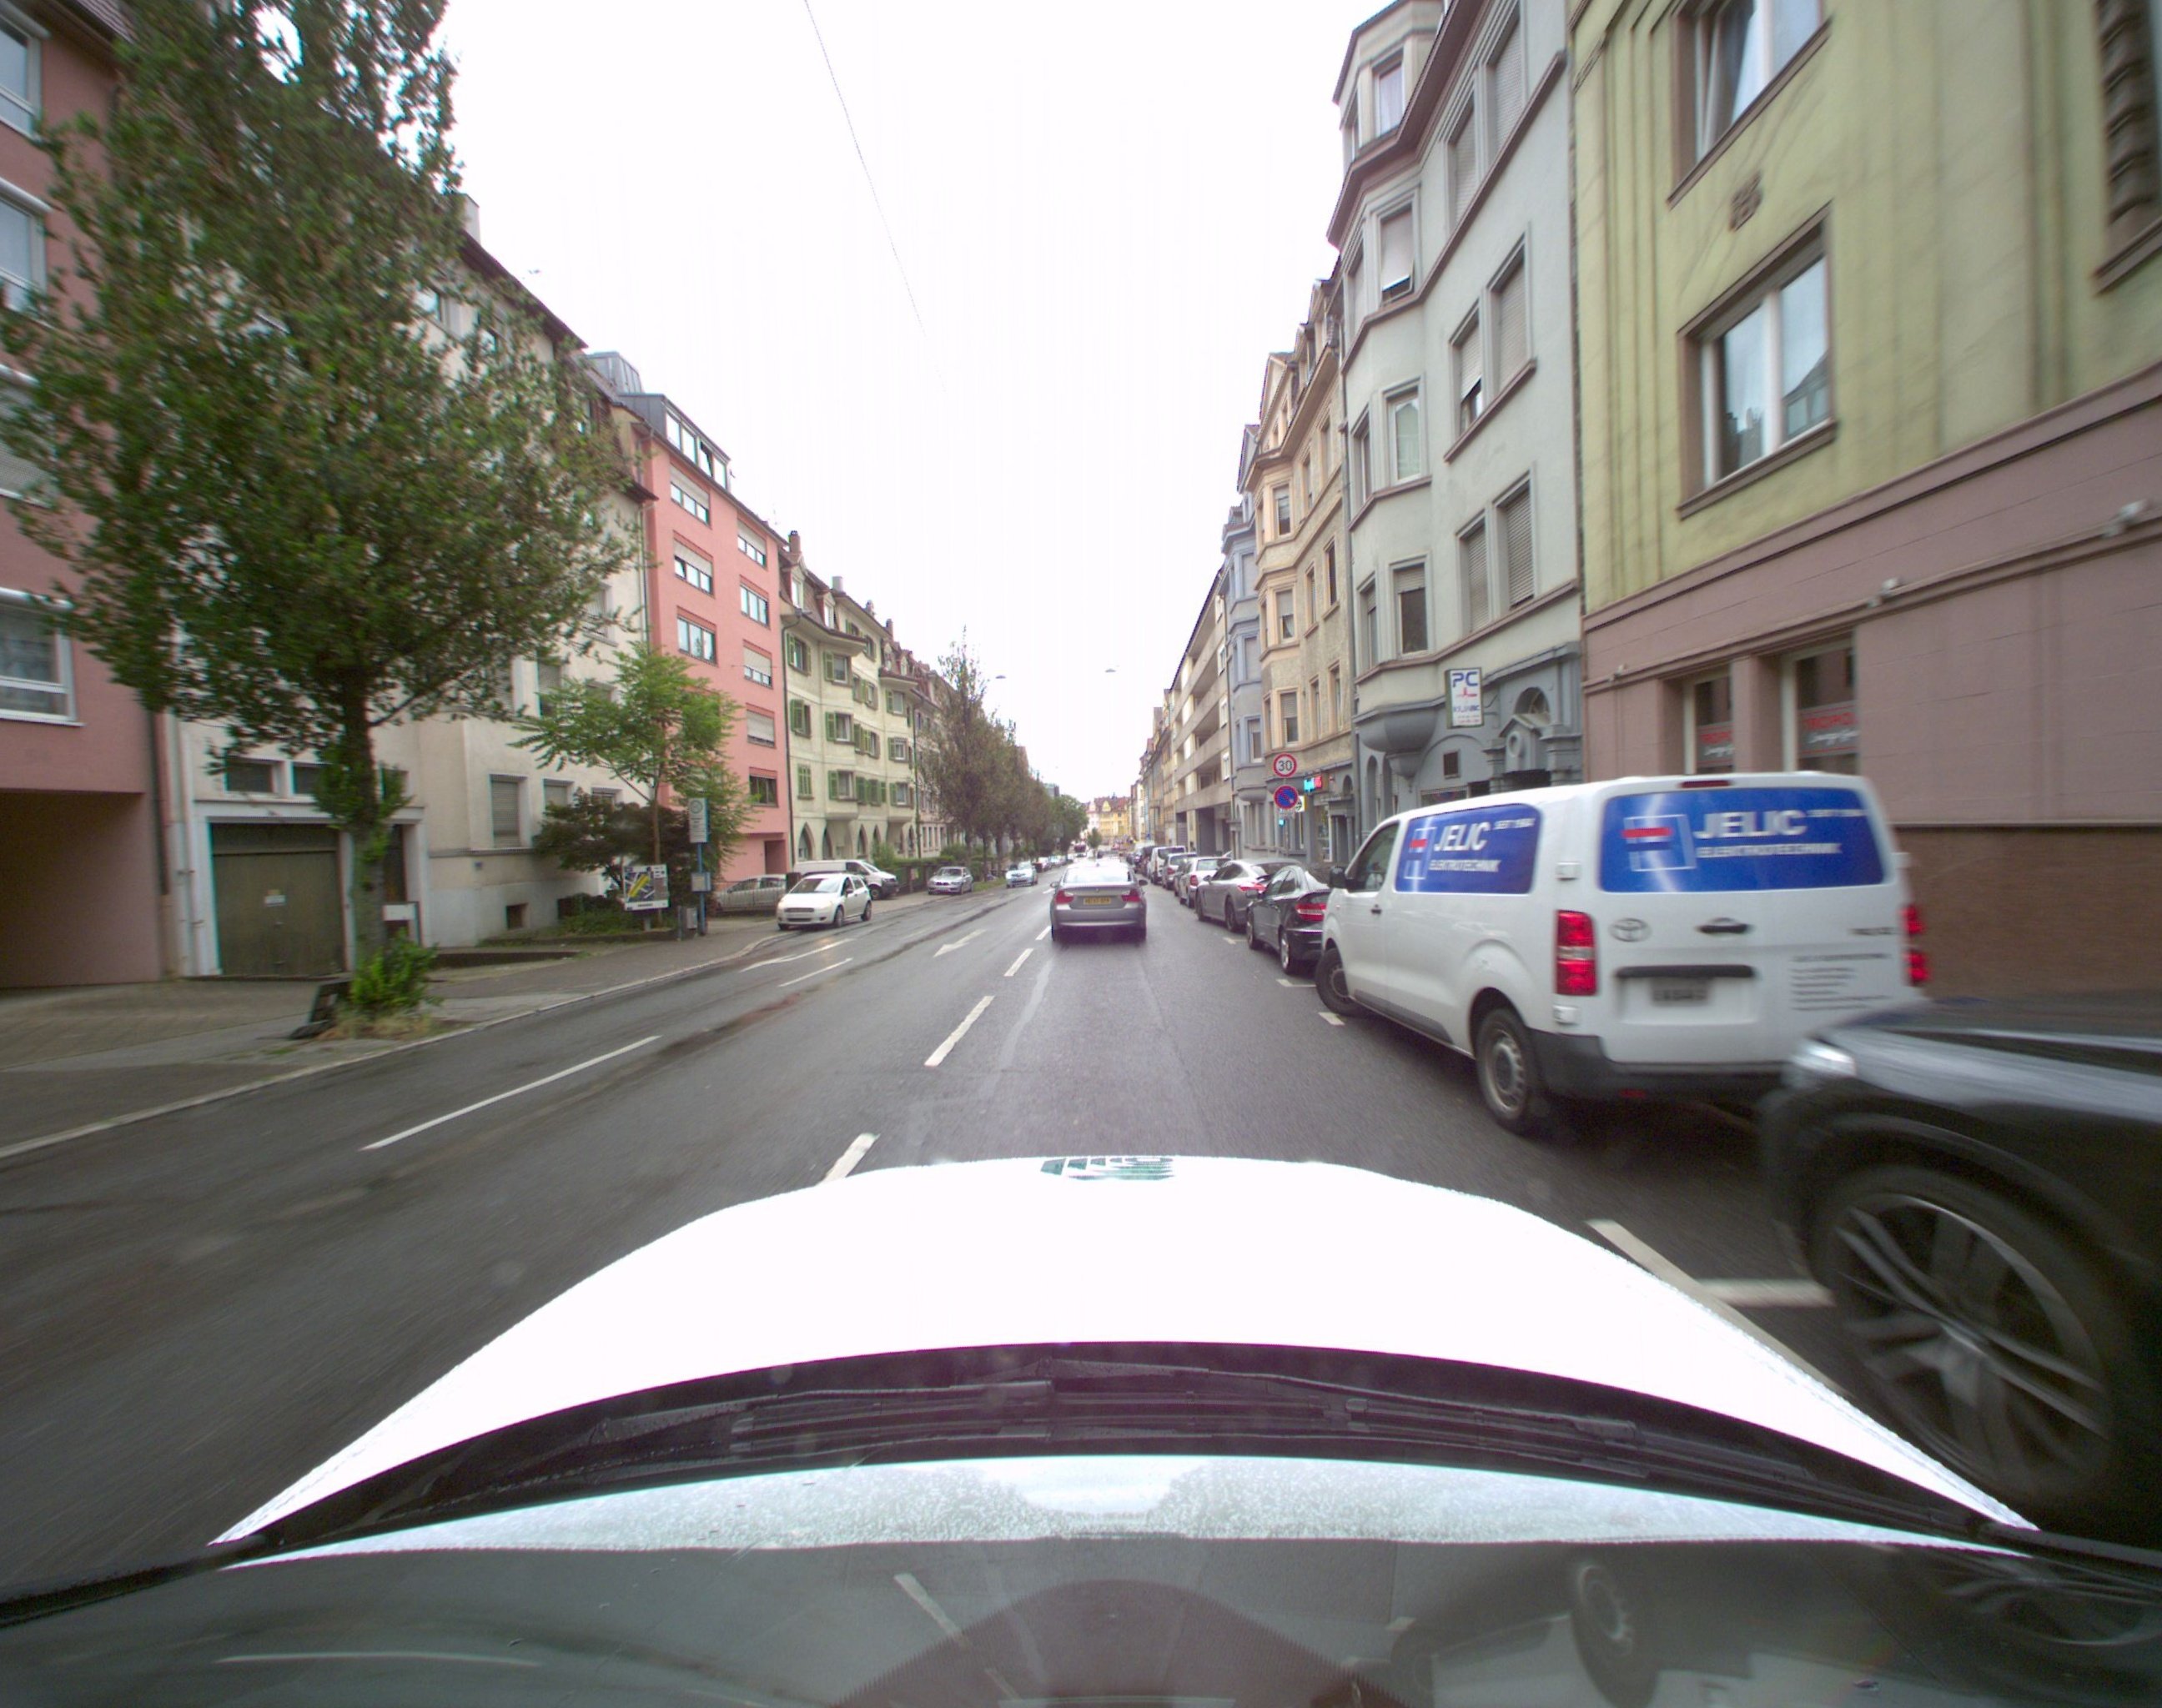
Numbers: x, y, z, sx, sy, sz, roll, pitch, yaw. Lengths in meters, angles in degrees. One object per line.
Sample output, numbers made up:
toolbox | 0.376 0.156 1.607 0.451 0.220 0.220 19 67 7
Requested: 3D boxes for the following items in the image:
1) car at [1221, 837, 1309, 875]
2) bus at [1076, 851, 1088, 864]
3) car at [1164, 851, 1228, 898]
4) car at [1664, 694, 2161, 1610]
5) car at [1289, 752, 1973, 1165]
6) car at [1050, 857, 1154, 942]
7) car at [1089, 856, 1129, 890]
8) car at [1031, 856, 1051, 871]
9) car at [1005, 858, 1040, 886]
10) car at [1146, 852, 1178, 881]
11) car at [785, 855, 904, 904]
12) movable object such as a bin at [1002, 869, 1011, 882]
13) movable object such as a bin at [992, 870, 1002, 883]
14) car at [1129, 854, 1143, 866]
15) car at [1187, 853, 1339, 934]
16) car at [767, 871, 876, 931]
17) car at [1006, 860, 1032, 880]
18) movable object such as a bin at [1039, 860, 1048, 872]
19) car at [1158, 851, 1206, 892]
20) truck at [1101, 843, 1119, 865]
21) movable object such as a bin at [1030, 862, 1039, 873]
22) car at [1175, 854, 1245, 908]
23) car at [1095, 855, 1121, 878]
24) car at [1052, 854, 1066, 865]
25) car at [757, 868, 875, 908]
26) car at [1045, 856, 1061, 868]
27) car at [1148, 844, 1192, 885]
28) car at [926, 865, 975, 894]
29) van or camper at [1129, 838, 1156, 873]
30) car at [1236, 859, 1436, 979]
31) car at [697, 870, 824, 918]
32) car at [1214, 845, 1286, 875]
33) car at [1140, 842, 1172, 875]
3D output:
car | 9.763 0.118 43.164 4.289 1.804 2.017 -2 1 19
bus | 0.281 0.890 200.693 2.658 3.024 7.674 -3 0 2
car | 4.249 0.712 30.718 1.892 1.478 4.802 -5 0 3
car | 2.937 0.555 0.547 1.871 1.731 4.679 0 0 2
car | 3.207 0.496 6.314 1.913 1.827 5.010 -3 0 1
car | 0.317 0.799 15.789 1.764 1.428 3.738 -1 -1 -2
car | 1.316 0.834 36.883 1.675 1.428 3.744 -1 -1 3
car | -4.603 1.081 93.404 1.820 1.523 3.739 -4 0 3
car | -3.592 1.086 50.179 1.630 1.508 3.756 -5 0 2
car | 5.121 0.755 52.078 1.719 1.670 4.290 -3 0 2
car | -10.972 1.161 38.042 4.811 1.974 2.049 -3 0 1
movable object such as a bin | -5.426 1.589 59.357 0.575 0.912 0.637 -3 -1 -12
movable object such as a bin | -6.126 1.627 59.263 0.575 0.912 0.637 -3 -1 -12
car | 7.307 0.829 107.911 1.691 1.483 3.976 -1 -1 1
car | 3.677 0.748 17.412 1.871 1.467 4.767 -1 0 -4
car | -7.337 1.287 23.413 1.614 1.446 4.008 -2 0 3
car | -5.394 1.354 70.977 1.760 1.594 4.001 -4 0 1
movable object such as a bin | -3.941 1.247 85.624 0.931 1.168 0.910 -2 0 2
car | 4.651 0.771 38.015 1.719 1.670 4.290 -4 0 2
truck | 3.304 -0.023 92.741 2.024 2.412 4.828 -1 -1 1
movable object such as a bin | -4.877 1.414 85.631 0.898 1.168 0.895 -2 0 2
car | 3.805 0.758 24.559 1.605 1.474 4.017 -1 0 2
car | 1.821 0.828 55.058 1.691 1.483 3.794 -1 -1 1
car | -3.349 0.812 122.908 1.684 1.523 3.739 -4 0 3
car | -11.404 1.453 35.270 4.418 1.451 1.791 -3 0 -1
car | -3.897 1.156 113.598 1.684 1.523 3.739 -4 0 3
car | 4.809 0.560 44.758 1.974 2.007 4.627 -3 0 2
car | -6.852 1.307 43.084 1.719 1.484 3.992 0 -1 3
van or camper | 5.344 0.117 69.989 2.023 2.869 6.896 1 0 6
car | 3.403 0.775 11.719 1.671 1.375 4.278 -1 0 2
car | -11.637 1.447 29.773 3.876 1.457 1.788 -3 0 -6
car | 10.595 0.367 51.012 4.255 1.640 1.673 -2 1 14
car | 5.421 0.332 59.389 1.974 2.166 4.752 -3 0 2
